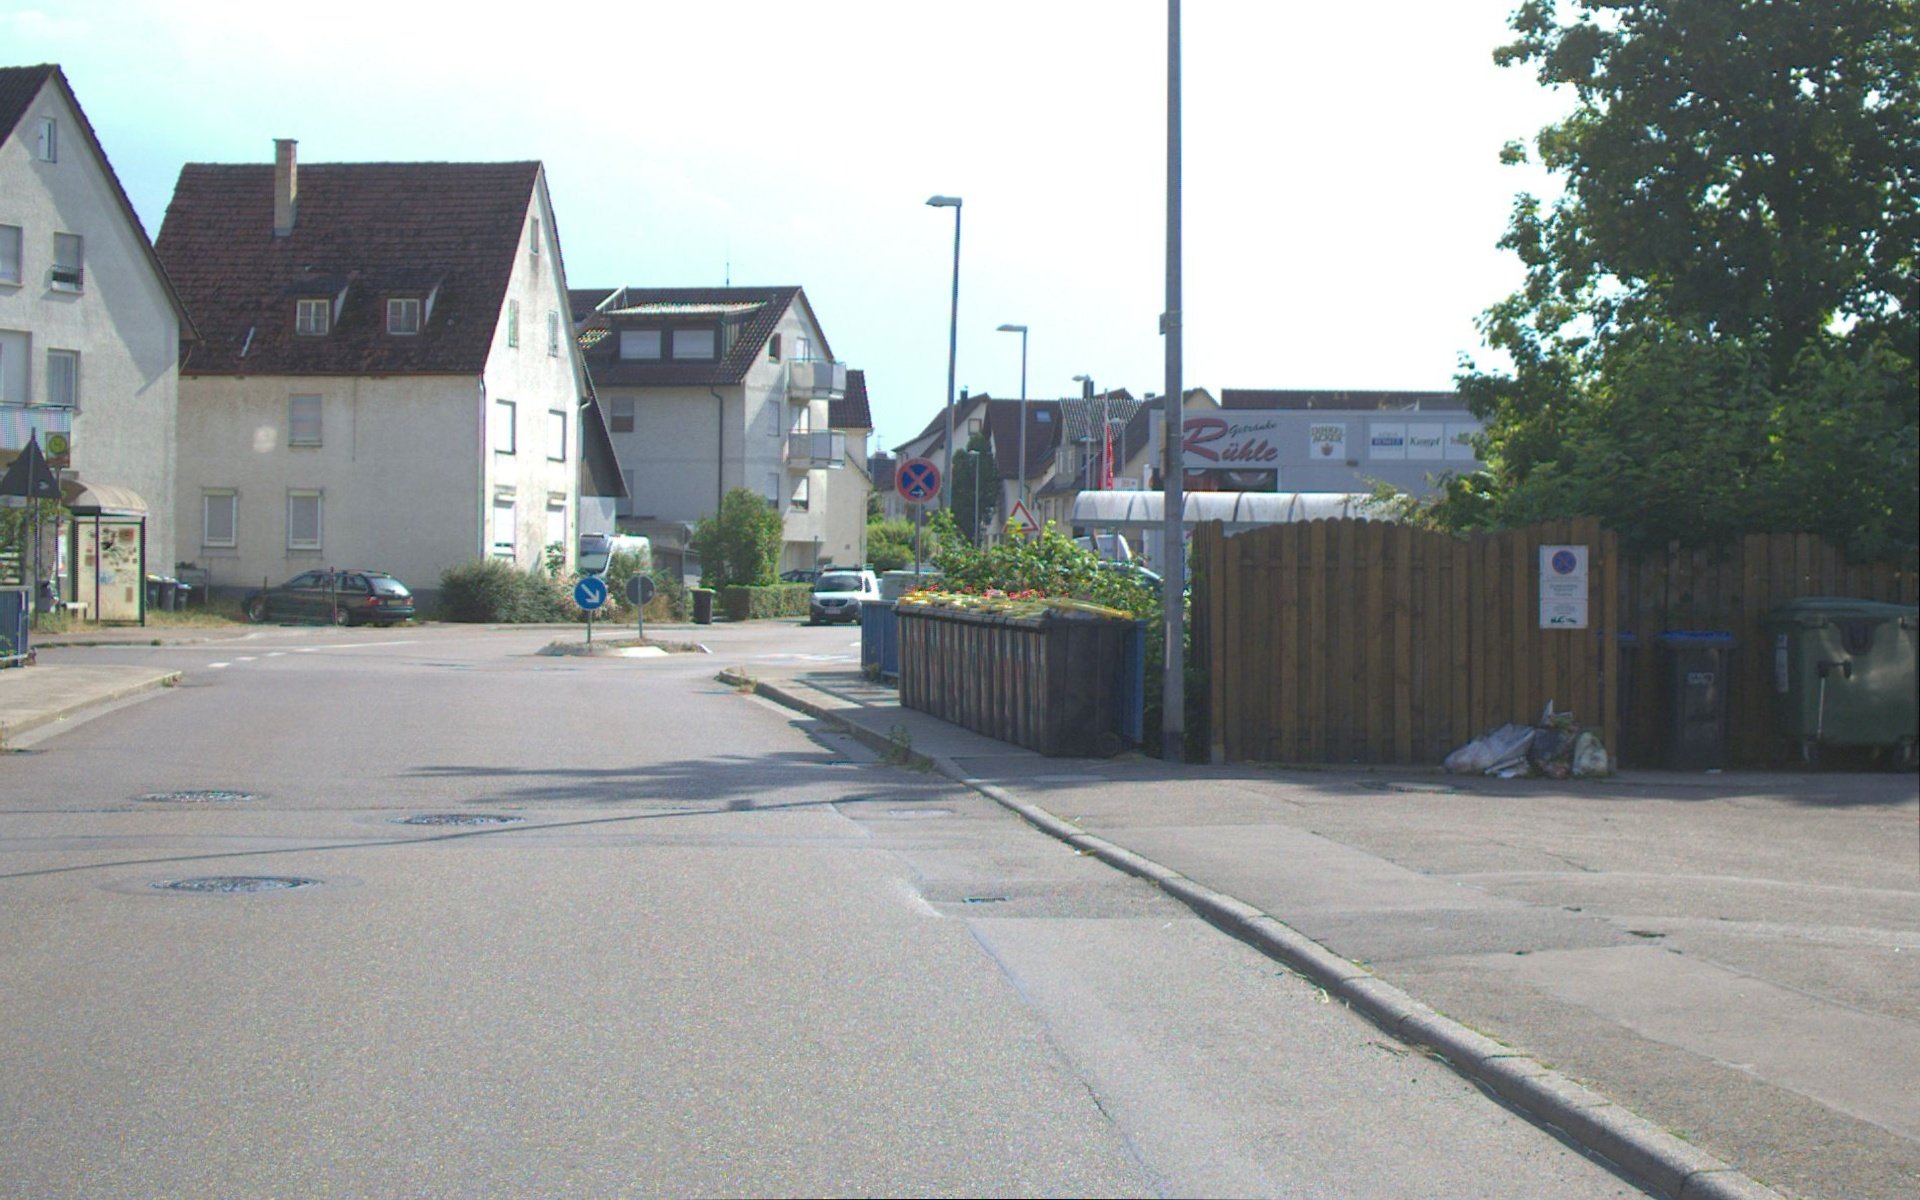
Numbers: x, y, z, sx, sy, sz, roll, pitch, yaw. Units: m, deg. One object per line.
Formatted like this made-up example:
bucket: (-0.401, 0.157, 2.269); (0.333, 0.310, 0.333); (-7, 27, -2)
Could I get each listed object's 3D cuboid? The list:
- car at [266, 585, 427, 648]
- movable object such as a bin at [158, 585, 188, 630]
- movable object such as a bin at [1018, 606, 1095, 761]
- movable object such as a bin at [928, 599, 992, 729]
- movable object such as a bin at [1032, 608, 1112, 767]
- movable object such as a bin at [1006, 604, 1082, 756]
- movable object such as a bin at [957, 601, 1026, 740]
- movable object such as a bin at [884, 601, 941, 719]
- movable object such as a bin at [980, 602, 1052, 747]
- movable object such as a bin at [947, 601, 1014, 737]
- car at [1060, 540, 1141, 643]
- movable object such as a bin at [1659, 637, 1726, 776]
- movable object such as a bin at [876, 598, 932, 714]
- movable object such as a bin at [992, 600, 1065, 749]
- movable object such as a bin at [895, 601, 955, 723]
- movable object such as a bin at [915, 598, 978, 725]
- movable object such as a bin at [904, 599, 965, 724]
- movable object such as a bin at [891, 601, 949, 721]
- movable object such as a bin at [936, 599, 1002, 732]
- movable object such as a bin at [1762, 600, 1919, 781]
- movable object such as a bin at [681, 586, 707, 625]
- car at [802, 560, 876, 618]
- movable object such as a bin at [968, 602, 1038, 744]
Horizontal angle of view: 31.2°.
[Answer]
car: (-15.594, 0.428, 87.338); (3.995, 1.428, 1.650); (2, 0, 35)
movable object such as a bin: (-18.074, 0.175, 78.985); (0.361, 1.019, 0.576); (1, -2, 24)
movable object such as a bin: (0.718, 0.619, 25.685); (0.478, 1.139, 0.538); (1, 0, -8)
movable object such as a bin: (-0.002, 0.564, 30.440); (0.478, 1.139, 0.538); (1, 0, -8)
movable object such as a bin: (0.817, 0.634, 25.134); (0.478, 1.139, 0.538); (1, 0, -8)
movable object such as a bin: (0.639, 0.605, 26.253); (0.478, 1.139, 0.543); (1, 0, -8)
movable object such as a bin: (0.261, 0.582, 28.642); (0.478, 1.139, 0.538); (1, 0, -8)
movable object such as a bin: (-0.462, 0.581, 33.564); (0.478, 1.139, 0.538); (1, 0, -8)
movable object such as a bin: (0.443, 0.586, 27.419); (0.478, 1.139, 0.538); (1, 0, -8)
movable object such as a bin: (0.175, 0.579, 29.219); (0.478, 1.139, 0.538); (1, 0, -8)
car: (3.384, -0.188, 82.083); (1.836, 2.367, 5.178); (1, 0, 3)
movable object such as a bin: (5.639, 0.815, 26.472); (0.431, 1.041, 0.441); (1, 0, 6)
movable object such as a bin: (-0.562, 0.554, 34.189); (0.478, 1.139, 0.538); (1, 0, -8)
movable object such as a bin: (0.532, 0.576, 26.825); (0.478, 1.139, 0.538); (1, 0, -8)
movable object such as a bin: (-0.331, 0.580, 32.340); (0.478, 1.139, 0.538); (1, 0, -8)
movable object such as a bin: (-0.124, 0.552, 31.127); (0.478, 1.139, 0.538); (1, 0, -8)
movable object such as a bin: (-0.241, 0.567, 31.776); (0.478, 1.139, 0.538); (1, 0, -8)
movable object such as a bin: (-0.387, 0.583, 32.975); (0.478, 1.139, 0.538); (1, 0, -8)
movable object such as a bin: (0.074, 0.567, 29.845); (0.478, 1.139, 0.565); (1, 0, -8)
movable object such as a bin: (6.850, 0.686, 26.476); (1.152, 1.332, 1.045); (1, 0, 6)
movable object such as a bin: (-7.821, 0.167, 101.033); (0.611, 1.097, 0.575); (2, -1, 8)
car: (-3.916, -0.334, 112.131); (1.717, 1.866, 4.190); (0, 0, 8)
movable object such as a bin: (0.351, 0.589, 28.050); (0.478, 1.139, 0.538); (1, 0, -8)
